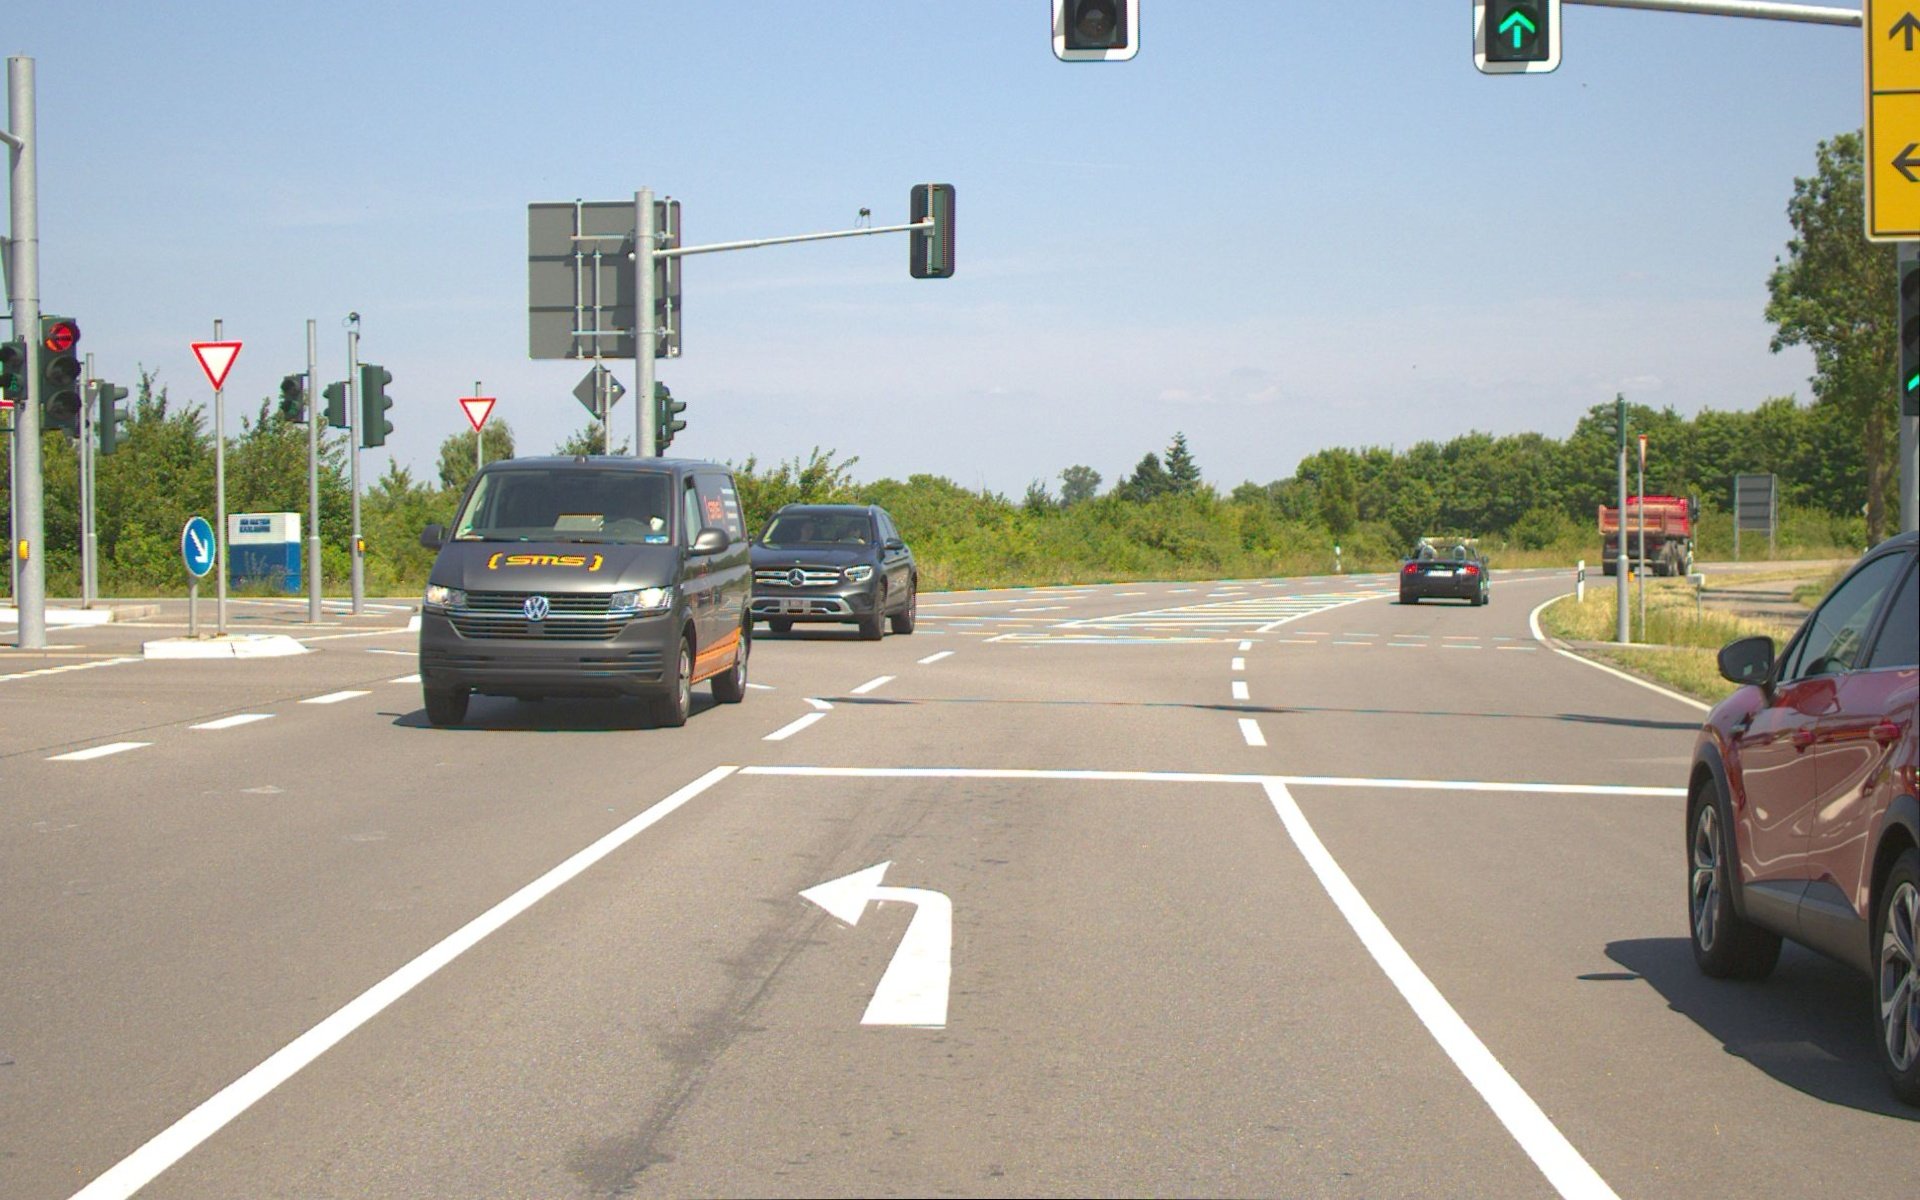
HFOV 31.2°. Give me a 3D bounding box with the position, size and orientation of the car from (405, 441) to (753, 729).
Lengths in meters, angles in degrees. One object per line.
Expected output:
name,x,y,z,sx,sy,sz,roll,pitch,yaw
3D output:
car,-2.784,-0.163,26.173,1.931,1.971,4.684,1,1,2

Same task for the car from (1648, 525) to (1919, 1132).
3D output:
car,3.414,0.577,10.466,1.822,1.547,4.449,1,1,1

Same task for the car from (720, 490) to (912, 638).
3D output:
car,-1.745,-0.489,43.335,1.931,1.733,4.889,1,1,3

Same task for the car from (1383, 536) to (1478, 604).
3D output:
car,10.074,-0.620,73.416,1.748,1.371,3.677,1,0,12

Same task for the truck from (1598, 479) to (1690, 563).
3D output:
truck,26.290,-2.979,131.933,2.716,3.042,8.158,0,0,16
